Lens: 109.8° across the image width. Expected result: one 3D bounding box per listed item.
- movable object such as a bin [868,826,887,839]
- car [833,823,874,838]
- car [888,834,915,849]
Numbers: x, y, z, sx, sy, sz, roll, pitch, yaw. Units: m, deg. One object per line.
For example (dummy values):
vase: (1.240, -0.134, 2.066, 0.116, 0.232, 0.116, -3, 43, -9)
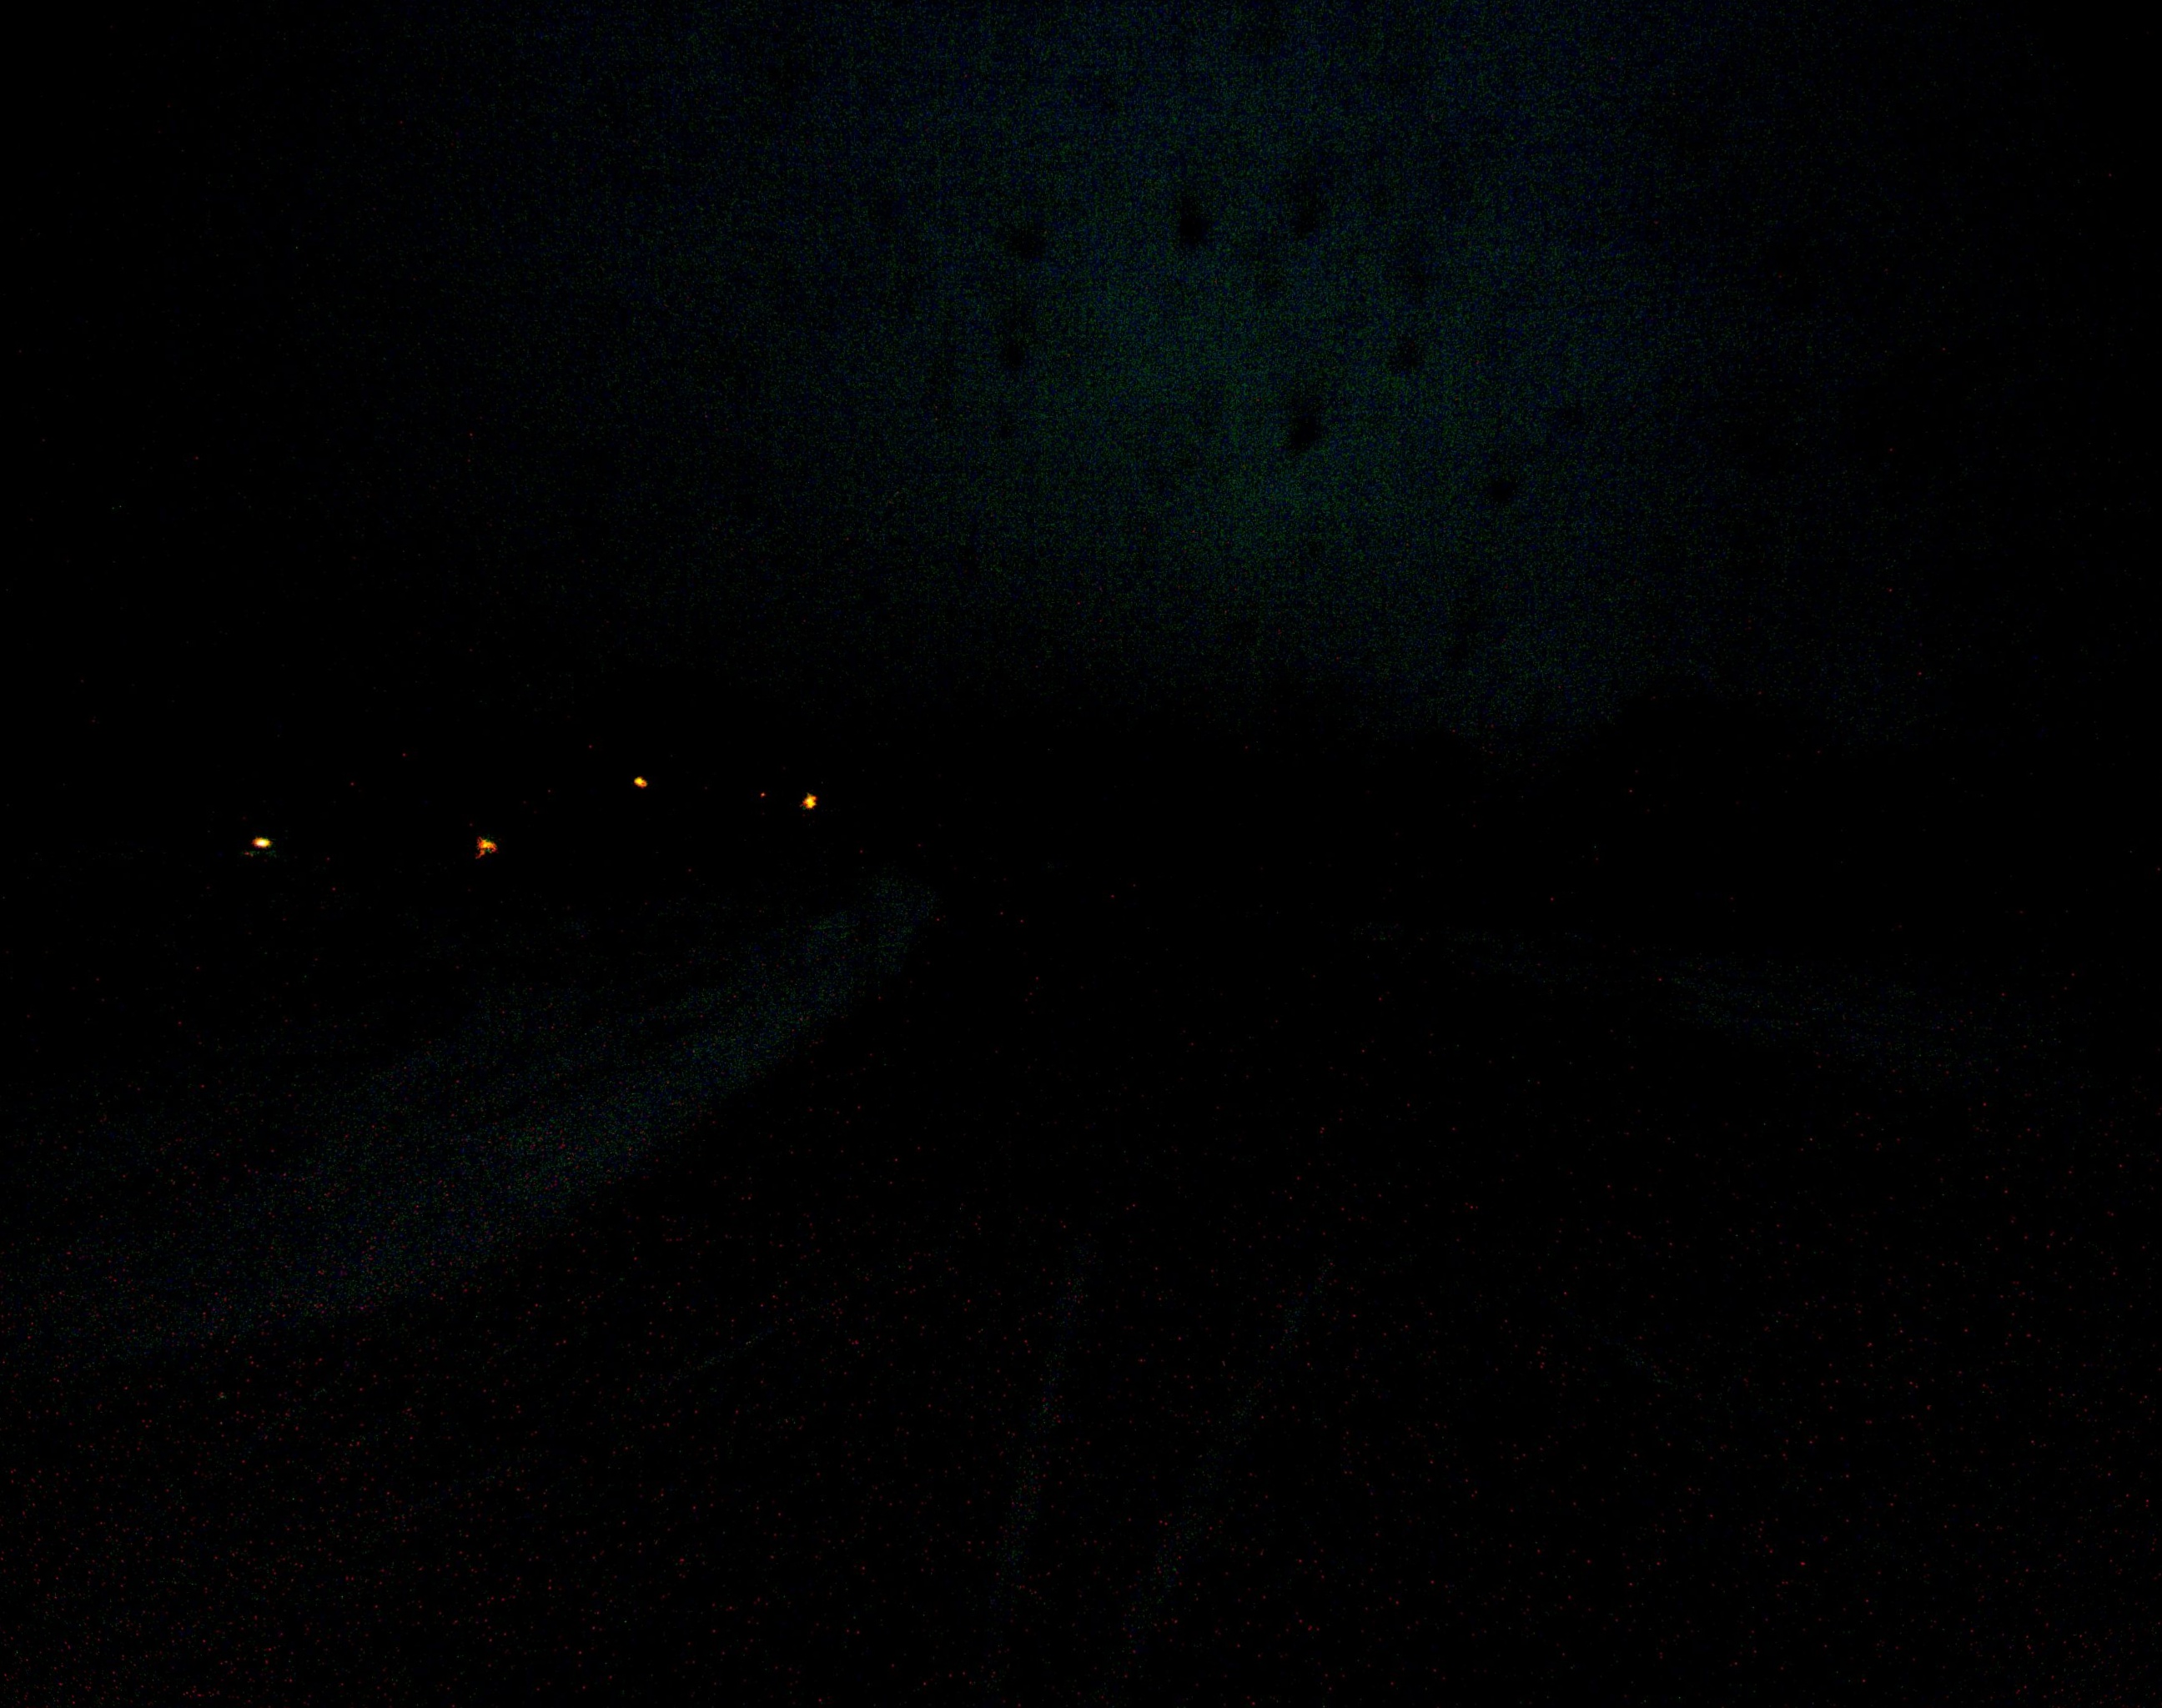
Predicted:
movable object such as a bin: (-27.481, -2.879, 102.675, 2.372, 1.640, 1.438, -2, 4, -15)
car: (-33.522, -3.433, 111.968, 5.289, 2.003, 2.206, 1, 6, -39)
car: (-20.030, -1.407, 84.569, 1.727, 1.526, 3.506, 0, 2, -34)
